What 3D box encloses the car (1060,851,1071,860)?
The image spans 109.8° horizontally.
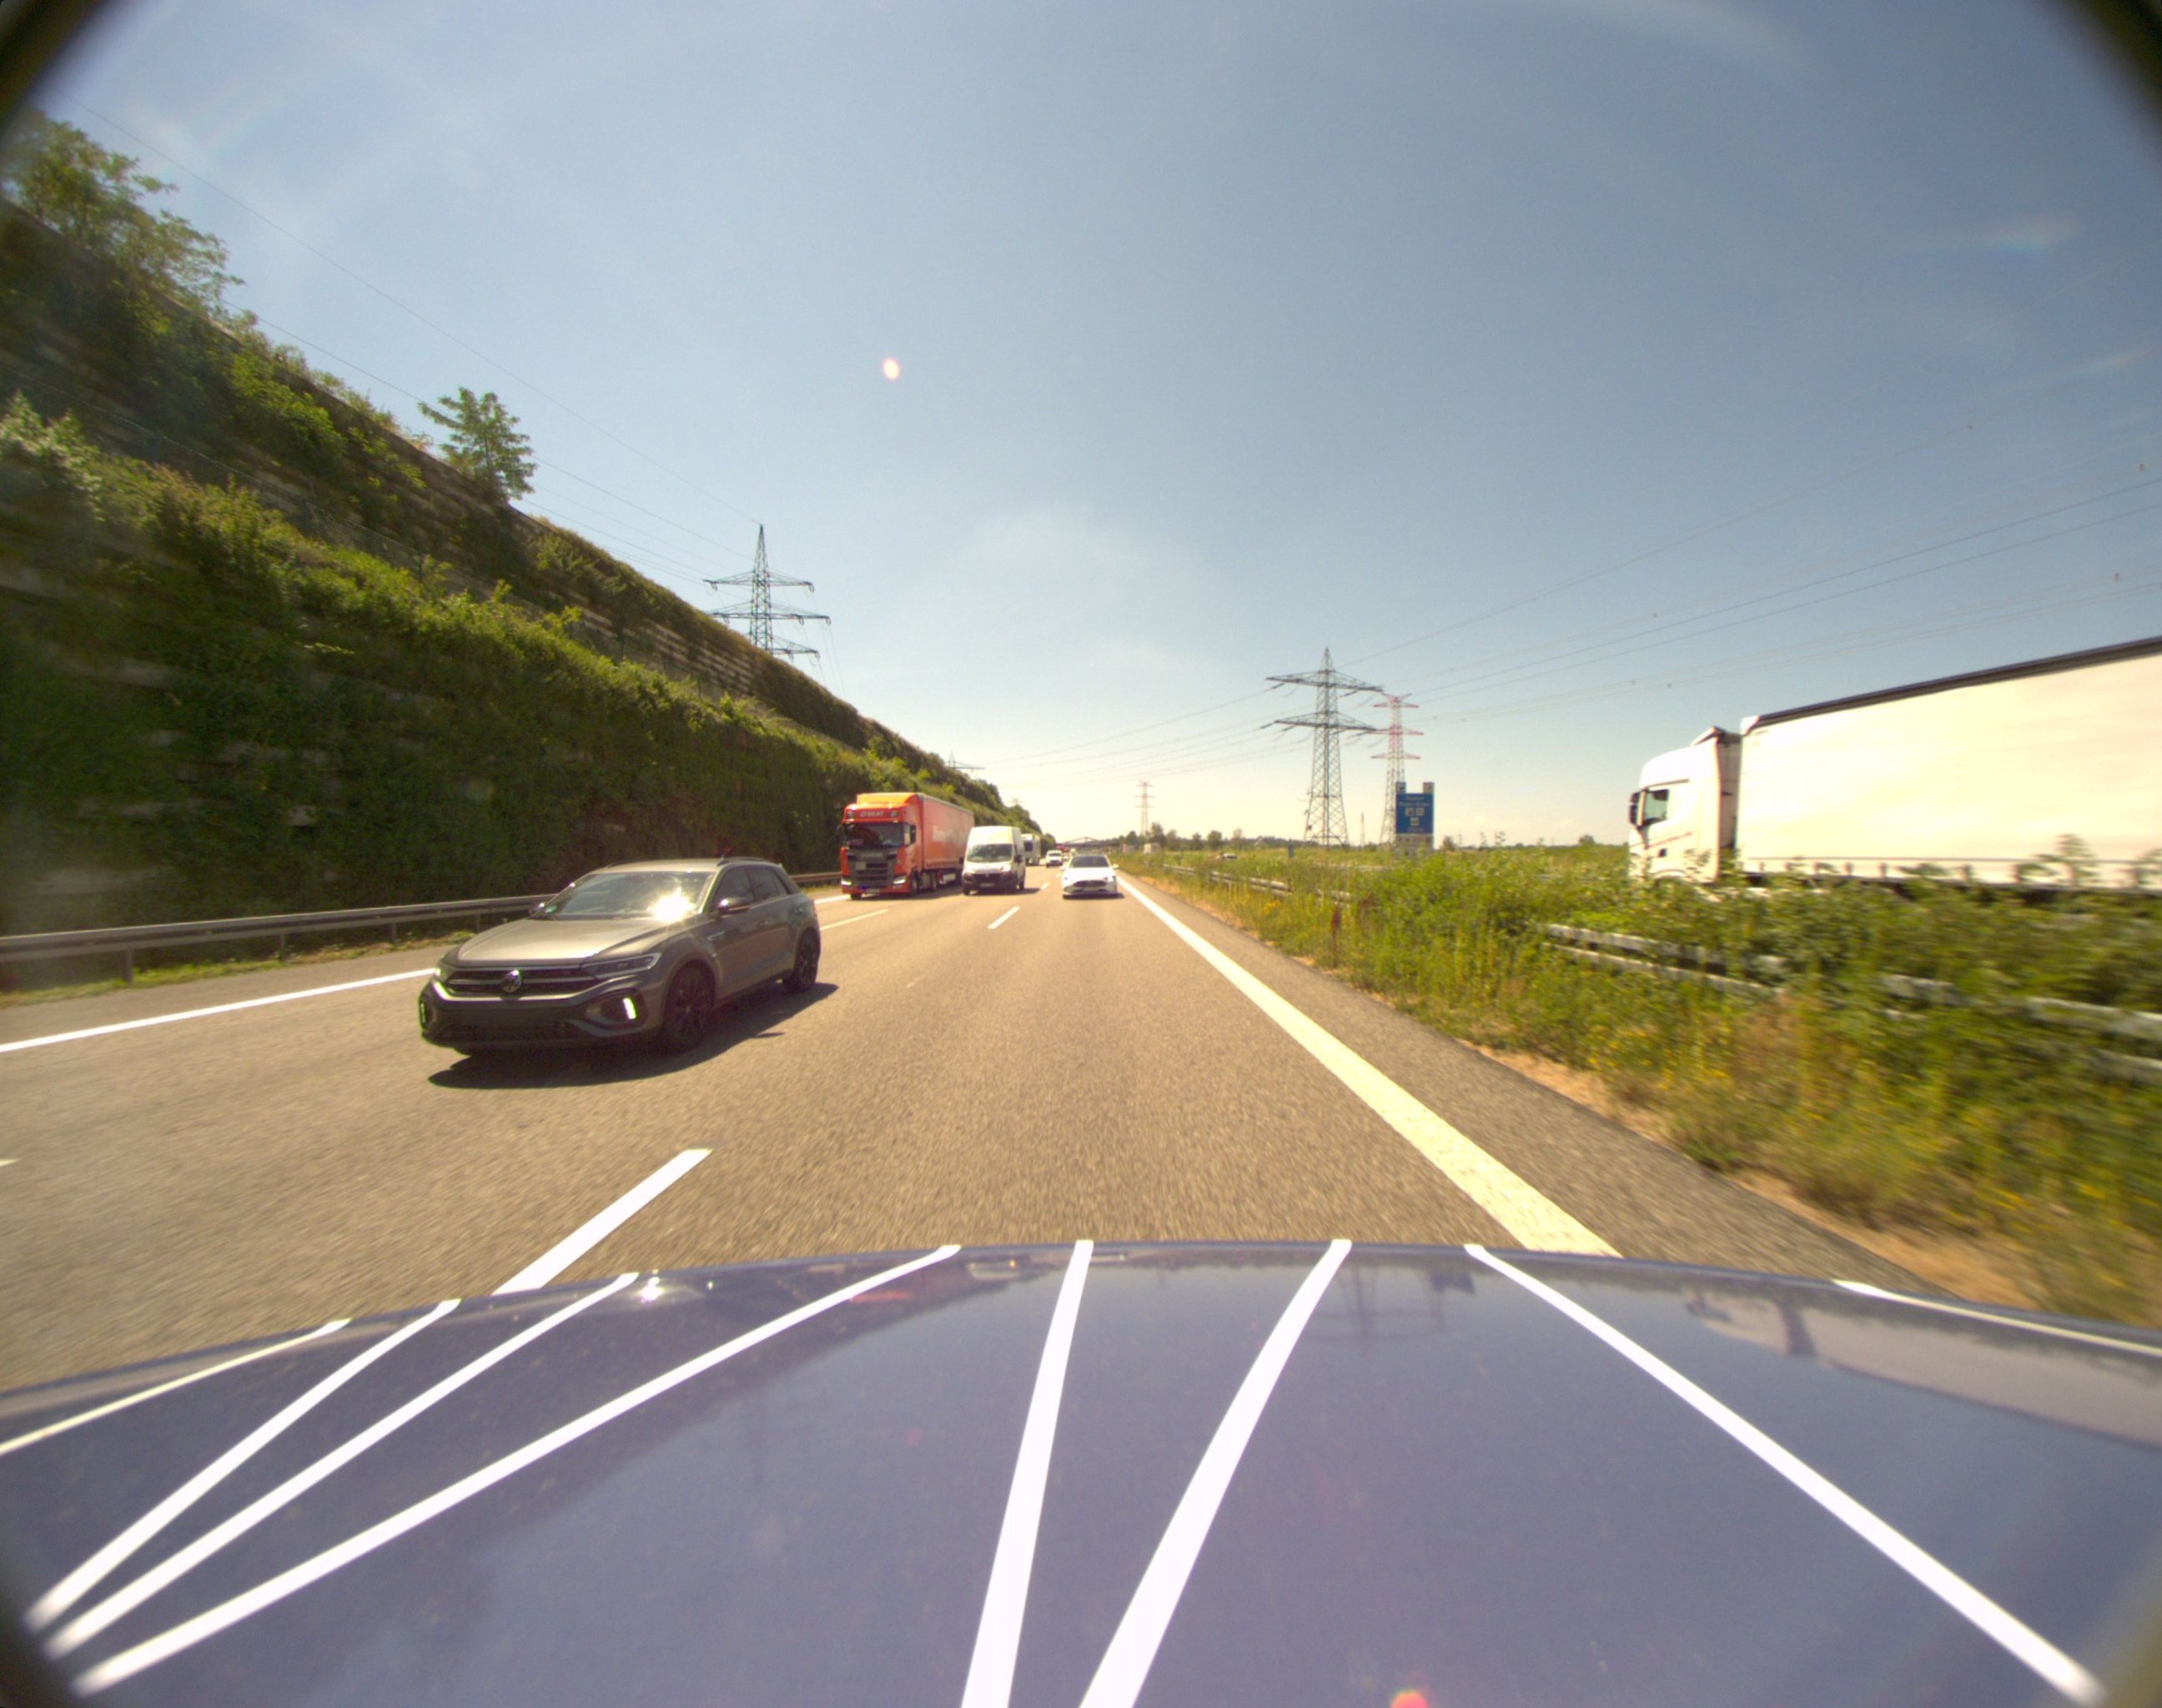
[{"bbox_3d":[-2.661,0.290,132.495,1.784,1.475,3.999,-1,0,-1],"label":"car"}]

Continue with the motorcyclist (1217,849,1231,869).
[{"bbox_3d":[9.549,0.309,50.696,0.709,1.339,1.013,0,1,0],"label":"motorcyclist"}]

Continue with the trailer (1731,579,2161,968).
[{"bbox_3d":[13.407,-0.908,6.957,2.776,4.324,14.238,-1,0,0],"label":"trailer"}]

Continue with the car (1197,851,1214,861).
[{"bbox_3d":[17.709,0.280,107.886,1.598,1.426,4.269,0,1,-1],"label":"car"}]

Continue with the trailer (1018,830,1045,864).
[{"bbox_3d":[-6.623,-0.890,103.912,2.521,4.187,17.025,-1,0,0],"label":"trailer"}]

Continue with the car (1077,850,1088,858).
[{"bbox_3d":[0.220,-0.015,129.061,1.784,1.475,3.999,0,0,-1],"label":"car"}]

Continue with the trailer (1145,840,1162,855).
[{"bbox_3d":[19.245,-1.817,202.847,2.861,3.800,15.977,0,0,0],"label":"trailer"}]

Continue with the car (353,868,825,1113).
[{"bbox_3d":[-3.952,0.952,7.068,1.753,1.516,3.995,-1,1,0],"label":"car"}]

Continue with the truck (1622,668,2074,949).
[{"bbox_3d":[13.459,-0.693,14.142,2.812,4.134,5.569,-1,1,0],"label":"truck"}]

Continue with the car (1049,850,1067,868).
[{"bbox_3d":[-2.436,0.515,82.335,1.784,1.783,3.999,-1,0,0],"label":"car"}]

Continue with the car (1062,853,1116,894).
[{"bbox_3d":[0.279,0.706,30.219,1.999,1.474,4.107,-1,0,0],"label":"car"}]

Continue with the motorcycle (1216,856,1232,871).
[{"bbox_3d":[9.580,0.624,50.995,0.701,0.966,1.845,0,1,1],"label":"motorcycle"}]

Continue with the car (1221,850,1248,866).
[{"bbox_3d":[14.523,0.322,71.888,1.816,1.471,4.000,0,1,1],"label":"car"}]

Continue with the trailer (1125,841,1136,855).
[{"bbox_3d":[15.321,-1.858,235.949,2.597,4.213,14.327,0,0,0],"label":"trailer"}]

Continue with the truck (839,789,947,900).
[{"bbox_3d":[-7.334,-0.359,30.609,2.624,3.969,6.526,-1,1,0],"label":"truck"}]

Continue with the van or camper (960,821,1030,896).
[{"bbox_3d":[-3.445,0.155,31.770,2.102,2.753,6.756,-1,0,0],"label":"van or camper"}]

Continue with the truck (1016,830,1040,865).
[{"bbox_3d":[-6.622,-0.848,95.483,2.514,4.196,6.255,0,1,0],"label":"truck"}]

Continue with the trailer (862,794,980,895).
[{"bbox_3d":[-7.274,-0.412,37.002,2.652,3.982,13.604,-1,0,0],"label":"trailer"}]
